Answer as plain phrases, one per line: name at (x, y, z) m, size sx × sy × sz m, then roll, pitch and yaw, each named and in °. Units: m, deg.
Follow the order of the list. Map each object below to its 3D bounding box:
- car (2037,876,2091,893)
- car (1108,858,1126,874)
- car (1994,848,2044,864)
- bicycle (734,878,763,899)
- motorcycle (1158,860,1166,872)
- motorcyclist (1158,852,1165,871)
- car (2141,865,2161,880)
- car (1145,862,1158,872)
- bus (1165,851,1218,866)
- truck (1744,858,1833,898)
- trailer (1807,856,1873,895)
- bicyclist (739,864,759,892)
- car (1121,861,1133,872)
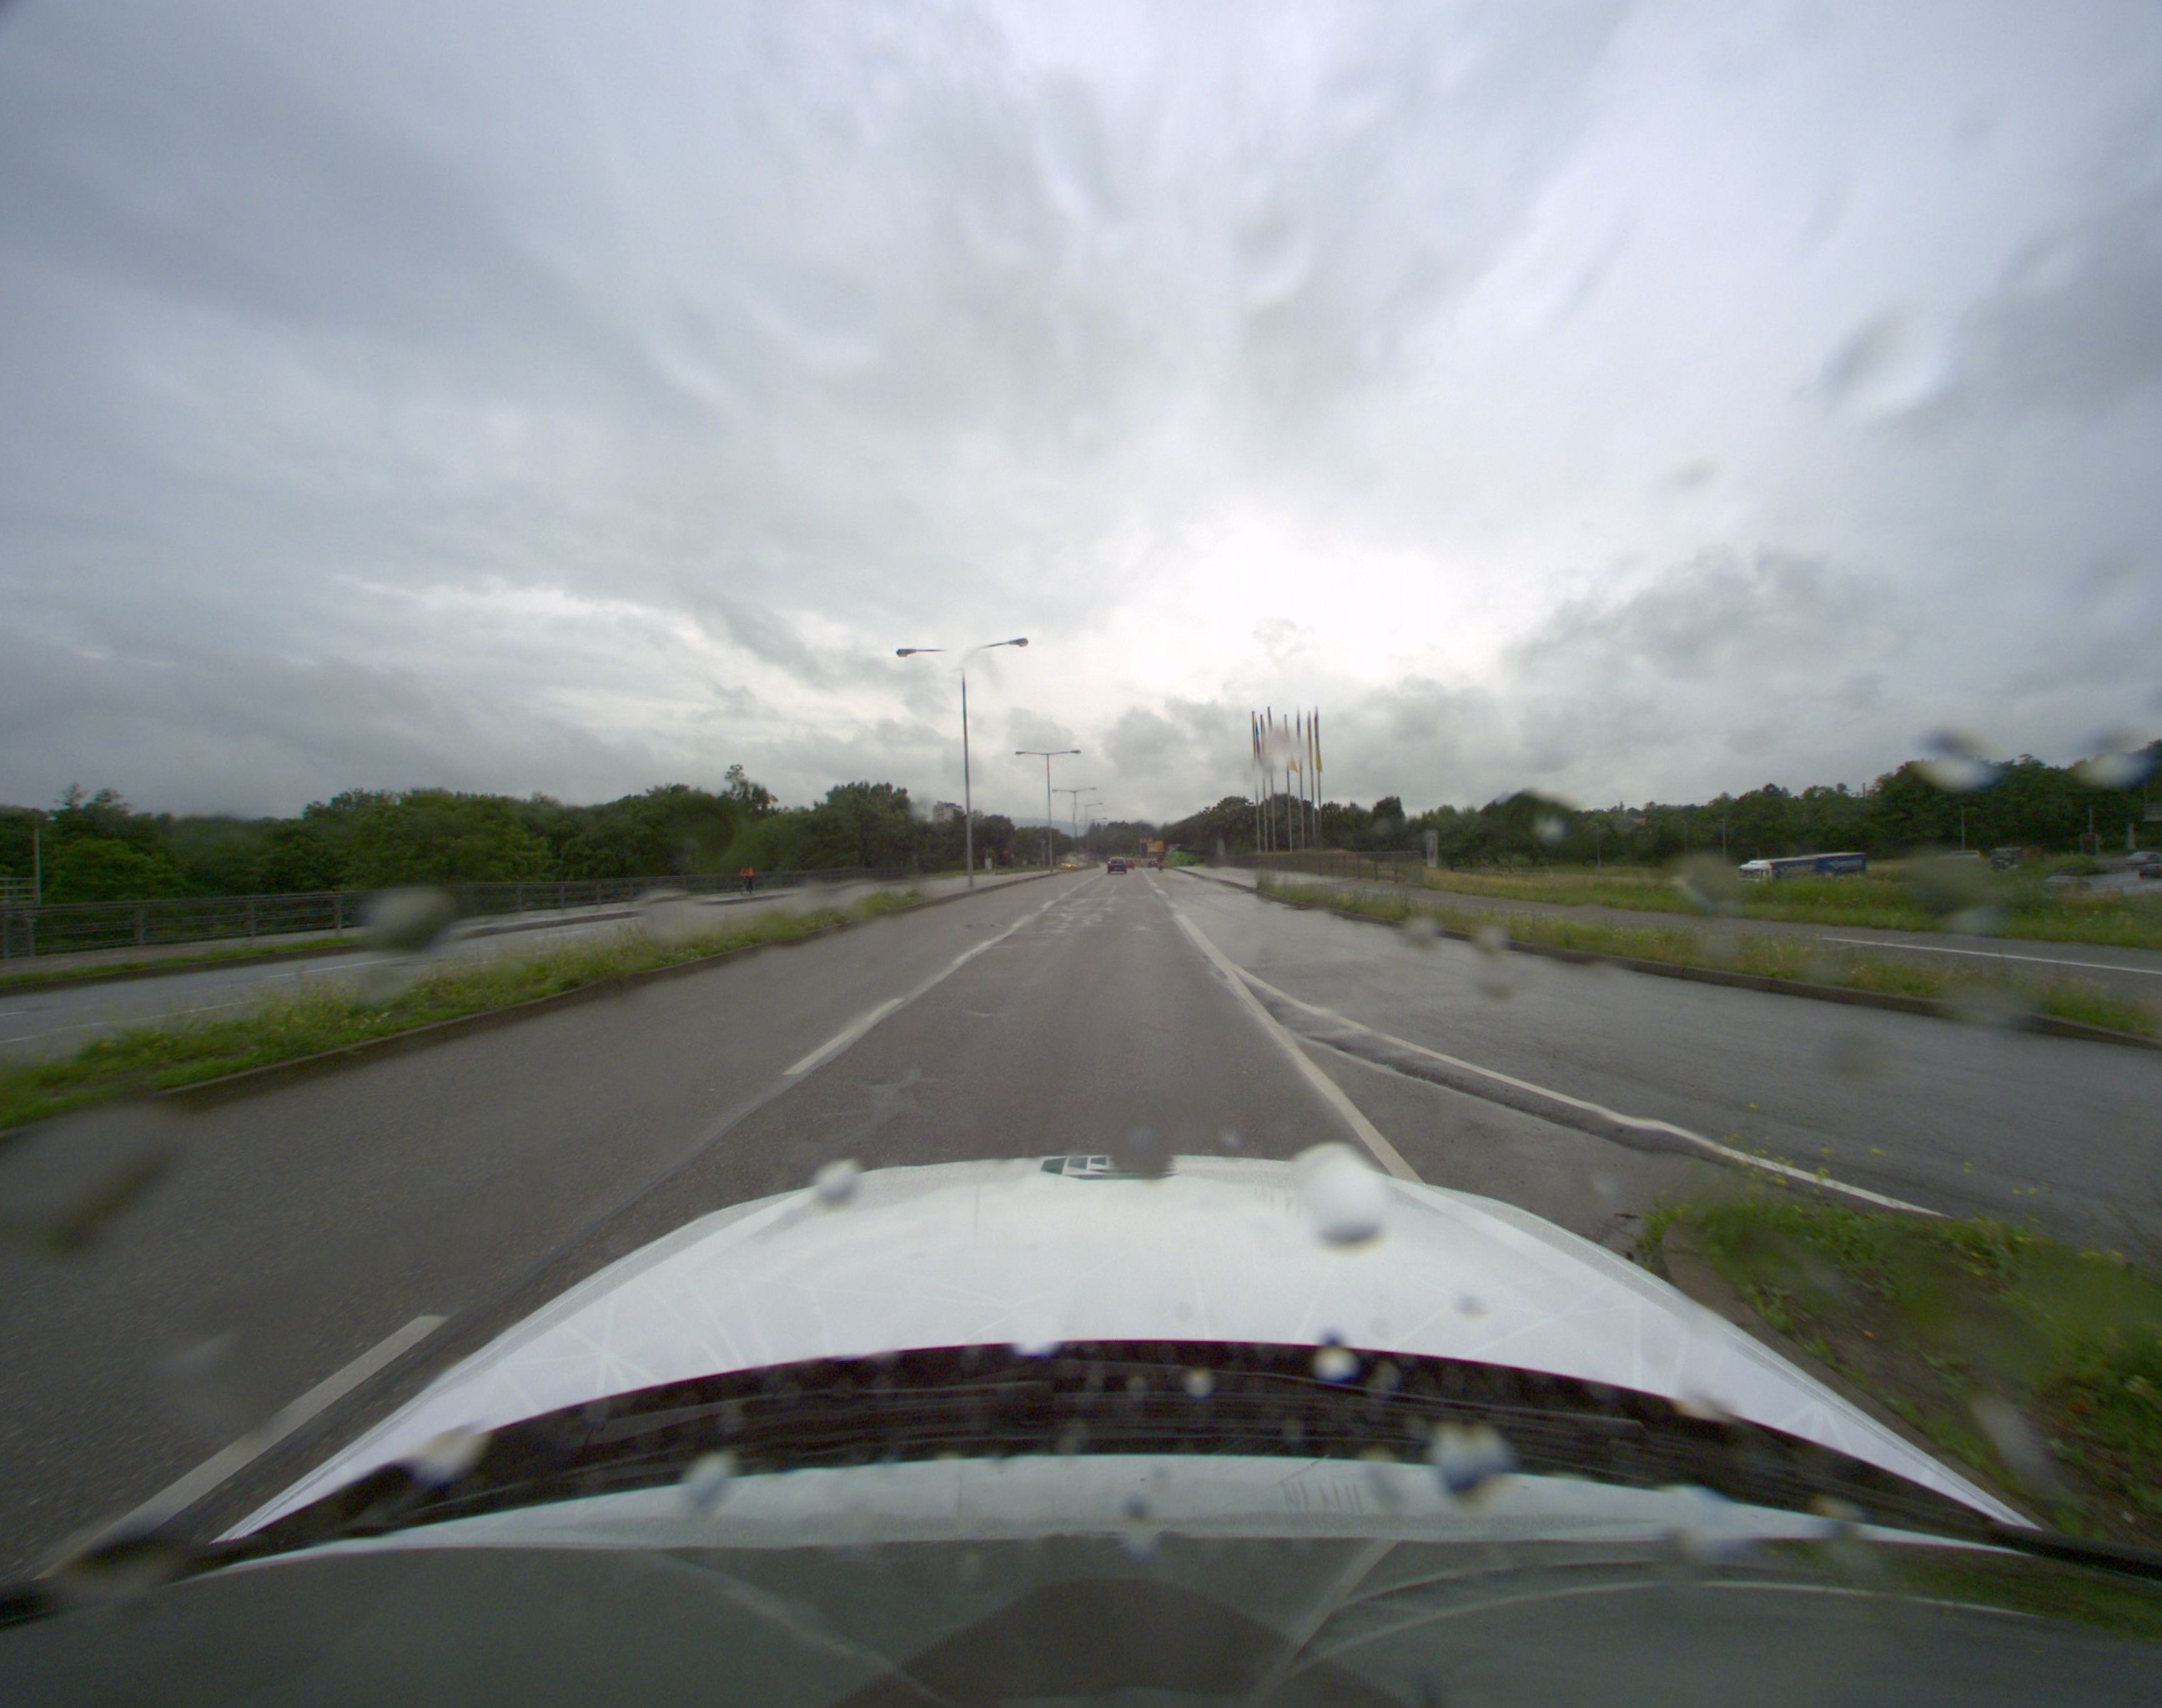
car at (100.544, 3.083, 83.297) m, size 3.993 × 1.593 × 1.990 m, roll -1°, pitch 0°, yaw -14°
car at (3.162, 1.062, 71.835) m, size 1.457 × 1.329 × 3.759 m, roll -1°, pitch 0°, yaw 2°
car at (122.401, 0.282, 106.268) m, size 5.615 × 1.965 × 2.285 m, roll -1°, pitch 0°, yaw -18°
bicycle at (-17.522, 1.822, 42.933) m, size 0.607 × 1.033 × 2.002 m, roll 0°, pitch -1°, yaw 3°
motorcycle at (7.347, 1.097, 74.160) m, size 0.599 × 1.093 × 1.733 m, roll -1°, pitch 0°, yaw 2°
motorcyclist at (7.326, 0.647, 74.146) m, size 0.599 × 1.690 × 0.860 m, roll -1°, pitch 0°, yaw 2°
car at (121.929, 2.121, 91.577) m, size 3.993 × 1.593 × 1.990 m, roll -1°, pitch 0°, yaw -14°
car at (11.439, 2.095, 131.874) m, size 1.848 × 1.618 × 4.000 m, roll -1°, pitch -1°, yaw 1°
bus at (20.611, 0.831, 150.875) m, size 2.727 × 2.680 × 14.683 m, roll -1°, pitch -1°, yaw 38°
truck at (81.051, 2.684, 93.196) m, size 10.940 × 4.302 × 2.553 m, roll -1°, pitch 0°, yaw -19°
trailer at (89.701, 2.483, 96.224) m, size 7.370 × 4.302 × 2.553 m, roll -1°, pitch 0°, yaw -19°
bicyclist at (-17.517, 1.262, 42.945) m, size 0.617 × 1.500 × 1.003 m, roll 0°, pitch -1°, yaw 3°
car at (5.925, 1.630, 105.425) m, size 1.457 × 1.329 × 3.759 m, roll -1°, pitch 0°, yaw 2°
